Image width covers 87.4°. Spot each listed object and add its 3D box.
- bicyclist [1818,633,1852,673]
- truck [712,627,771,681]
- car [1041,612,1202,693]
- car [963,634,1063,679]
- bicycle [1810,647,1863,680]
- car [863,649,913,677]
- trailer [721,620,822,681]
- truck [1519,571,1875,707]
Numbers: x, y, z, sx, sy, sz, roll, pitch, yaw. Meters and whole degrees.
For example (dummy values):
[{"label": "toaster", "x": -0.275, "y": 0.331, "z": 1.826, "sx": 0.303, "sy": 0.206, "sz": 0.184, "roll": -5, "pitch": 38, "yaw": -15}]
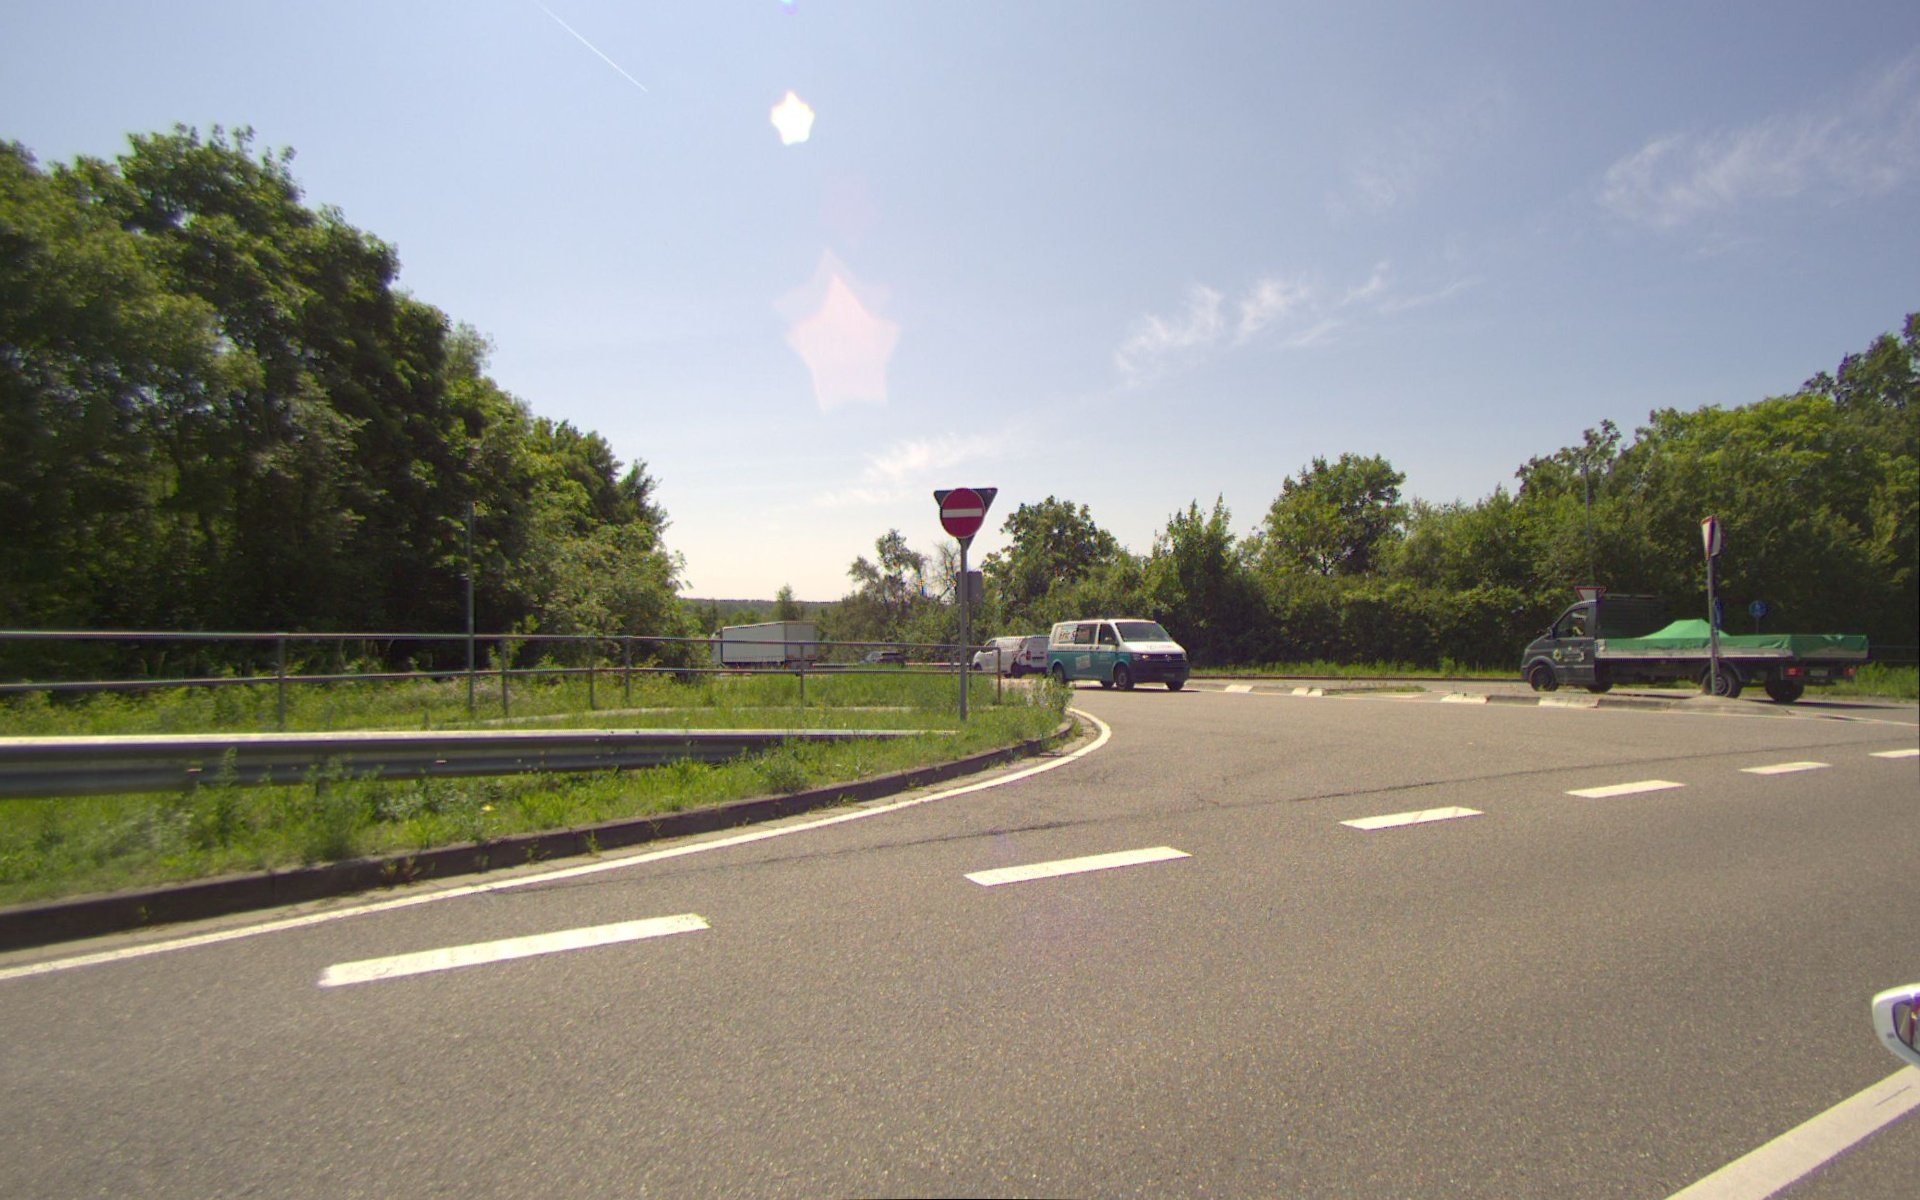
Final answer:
[{"label": "bicyclist", "x": 30.893, "y": 1.871, "z": 35.465, "sx": 0.597, "sy": 1.381, "sz": 0.690, "roll": 0, "pitch": 0, "yaw": 5}, {"label": "truck", "x": -18.341, "y": 4.574, "z": 84.215, "sx": 2.966, "sy": 4.330, "sz": 5.879, "roll": 1, "pitch": -5, "yaw": -32}, {"label": "car", "x": 4.391, "y": 1.512, "z": 28.286, "sx": 1.972, "sy": 2.054, "sz": 5.160, "roll": 1, "pitch": -4, "yaw": -24}, {"label": "car", "x": 2.381, "y": 2.634, "z": 46.643, "sx": 1.994, "sy": 1.949, "sz": 5.150, "roll": 1, "pitch": -3, "yaw": -32}, {"label": "bicycle", "x": 30.927, "y": 2.225, "z": 35.453, "sx": 1.452, "sy": 1.128, "sz": 0.437, "roll": 0, "pitch": -1, "yaw": 4}, {"label": "car", "x": -4.318, "y": 3.738, "z": 59.809, "sx": 1.746, "sy": 1.616, "sz": 3.906, "roll": 1, "pitch": -4, "yaw": -25}, {"label": "trailer", "x": -15.126, "y": 4.149, "z": 79.216, "sx": 2.966, "sy": 4.330, "sz": 13.676, "roll": 1, "pitch": -5, "yaw": -32}, {"label": "truck", "x": 16.154, "y": 0.901, "z": 22.739, "sx": 2.110, "sy": 2.598, "sz": 6.619, "roll": 1, "pitch": -3, "yaw": -15}]
